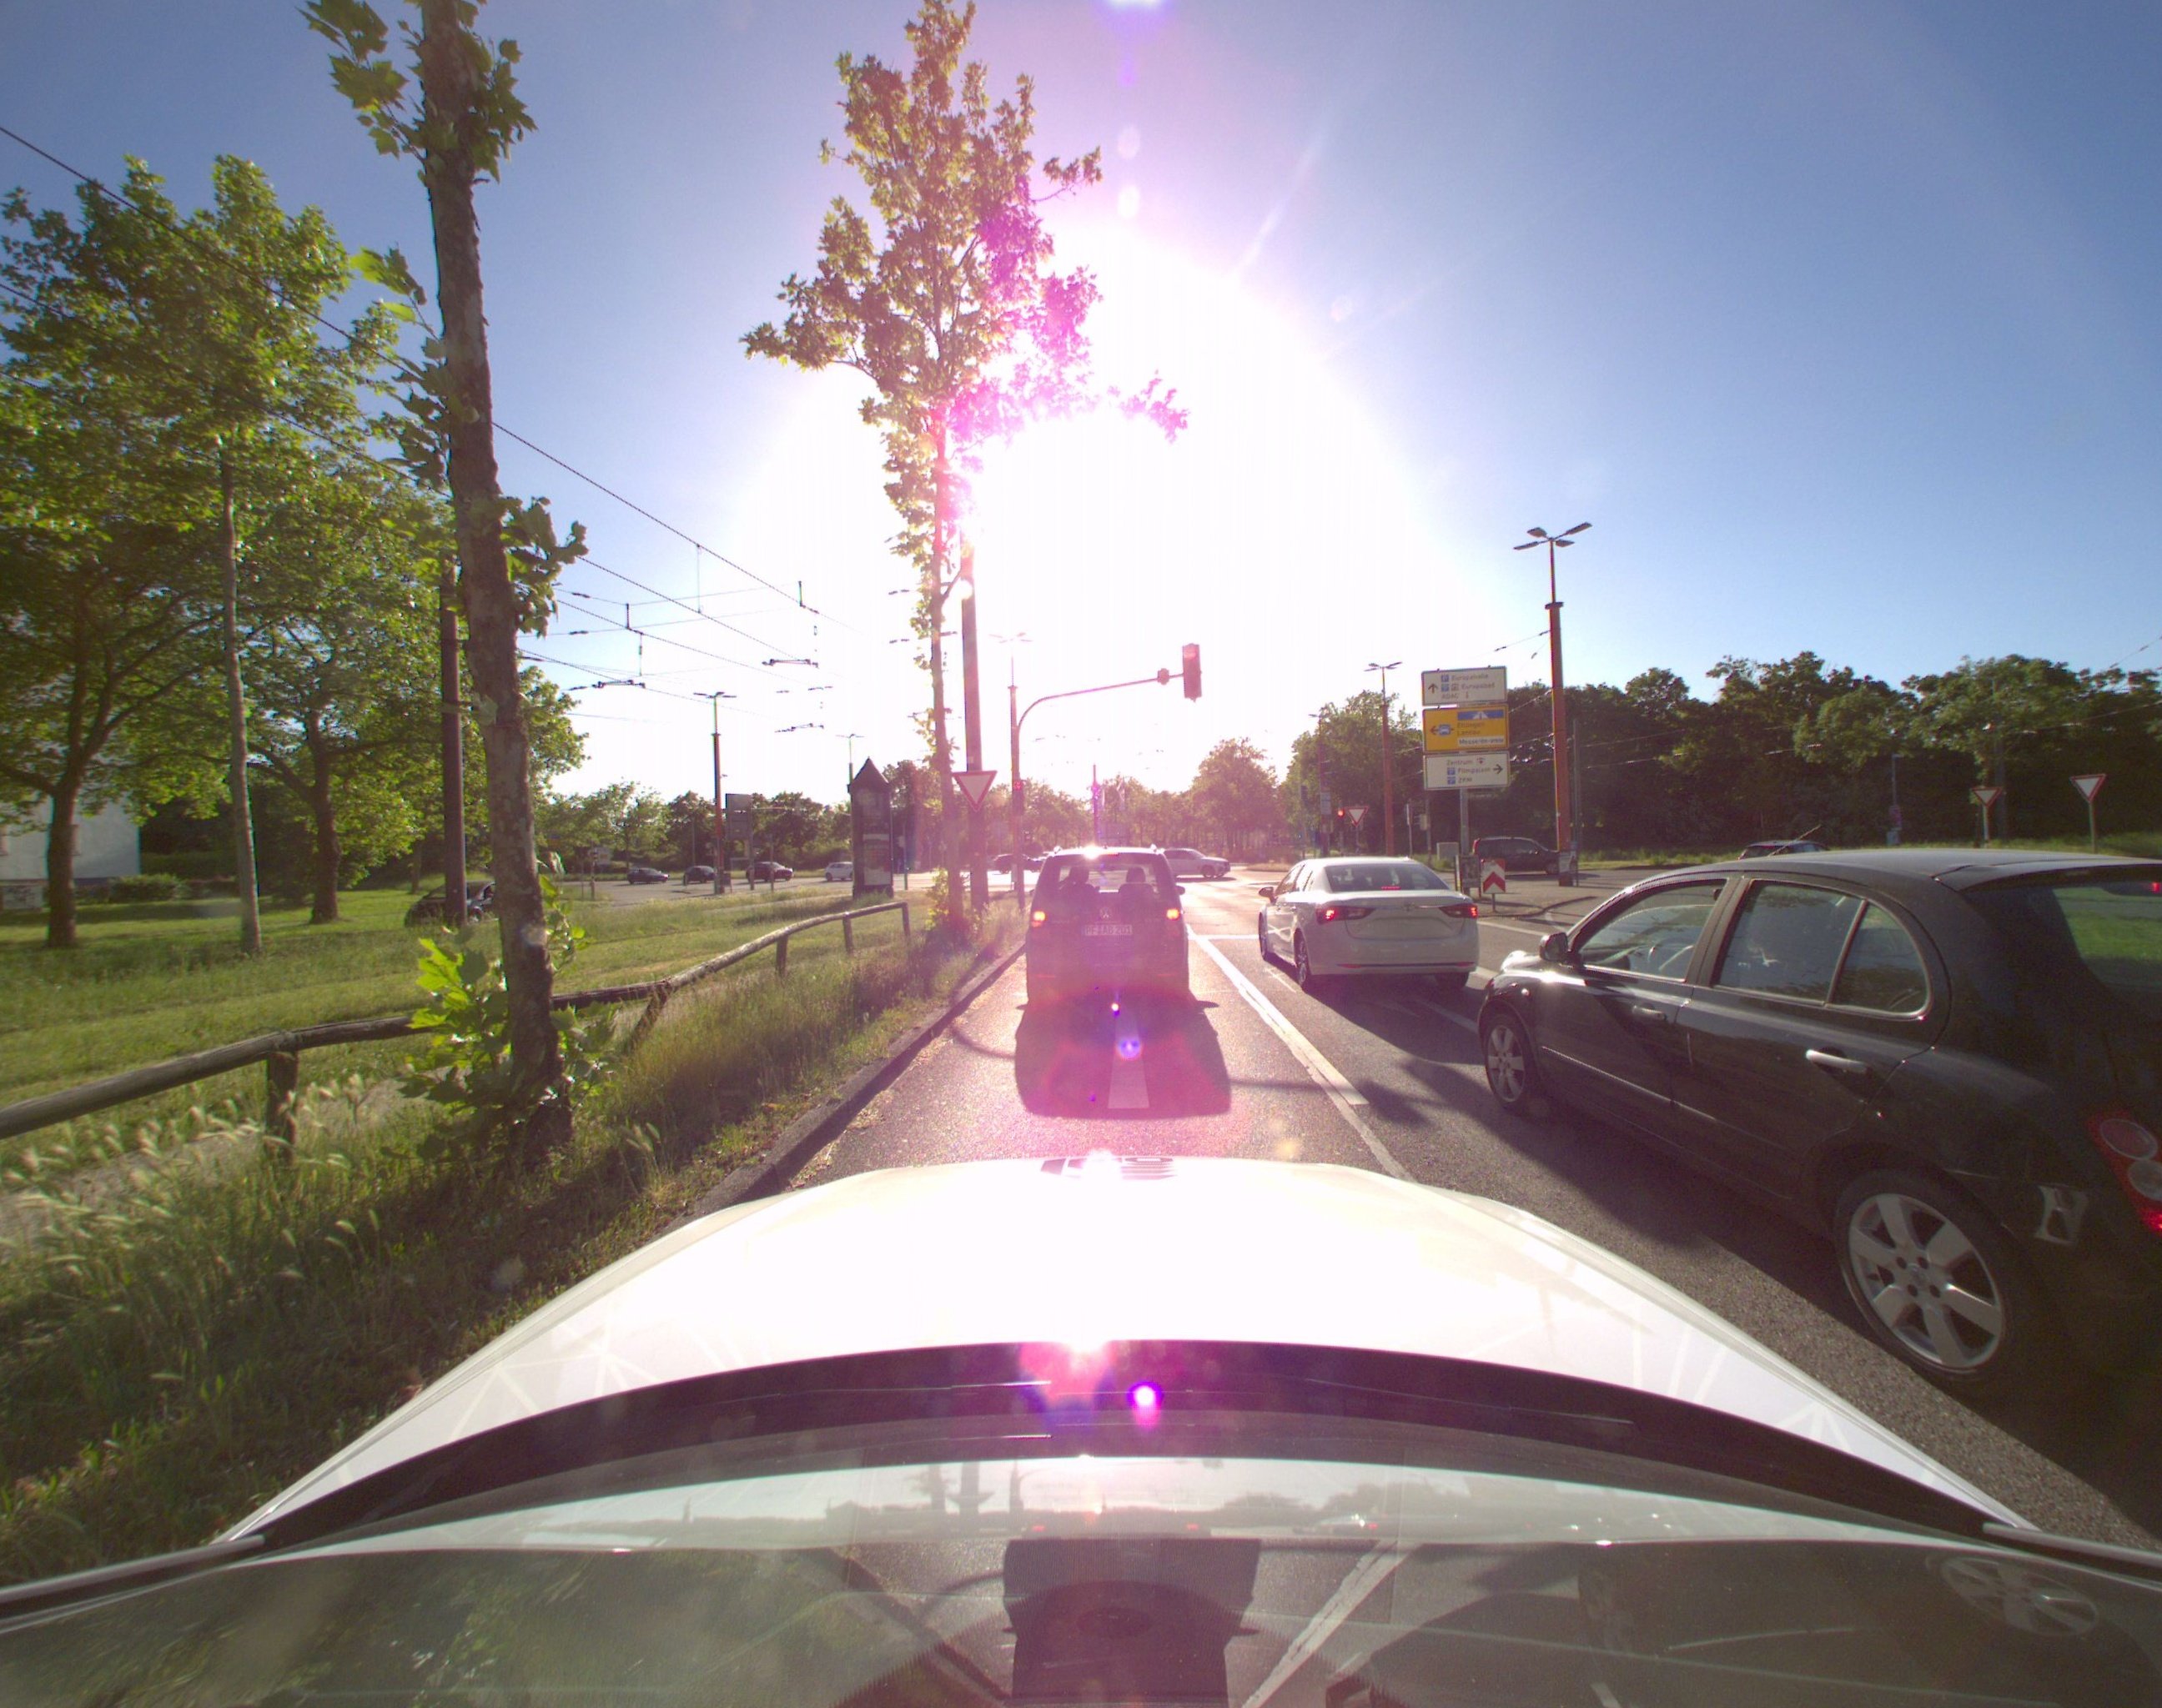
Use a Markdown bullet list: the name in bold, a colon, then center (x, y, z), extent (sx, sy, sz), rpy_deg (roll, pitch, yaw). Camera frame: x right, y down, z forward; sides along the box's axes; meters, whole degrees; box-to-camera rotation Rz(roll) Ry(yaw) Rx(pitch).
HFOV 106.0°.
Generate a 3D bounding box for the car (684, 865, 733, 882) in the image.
- **car**: center (-33.392, 1.762, 72.978), extent (4.004, 1.464, 1.926), rpy_deg (-2, 0, 29)

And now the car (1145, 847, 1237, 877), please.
- **car**: center (6.239, 0.461, 46.359), extent (4.735, 1.598, 1.926), rpy_deg (-2, 0, 29)

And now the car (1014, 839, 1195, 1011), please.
- **car**: center (0.298, 0.698, 9.993), extent (1.731, 1.641, 4.002), rpy_deg (-2, 0, 2)

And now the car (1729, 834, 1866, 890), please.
- **car**: center (20.739, 0.208, 23.565), extent (3.903, 1.469, 1.735), rpy_deg (-2, 0, -29)

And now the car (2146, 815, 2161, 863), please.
- **car**: center (36.857, -0.539, 24.851), extent (4.867, 1.575, 2.013), rpy_deg (-2, 0, 31)

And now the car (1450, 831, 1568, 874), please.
- **car**: center (20.040, -0.060, 38.197), extent (4.735, 1.836, 1.926), rpy_deg (-2, 0, 29)

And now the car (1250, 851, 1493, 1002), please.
- **car**: center (3.299, 0.721, 10.121), extent (1.708, 1.454, 4.147), rpy_deg (-2, 0, 3)

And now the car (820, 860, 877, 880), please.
- **car**: center (-18.486, 1.275, 64.763), extent (4.169, 1.464, 1.926), rpy_deg (-2, 0, 29)

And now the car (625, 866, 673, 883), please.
- **car**: center (-41.087, 1.954, 77.476), extent (4.187, 1.464, 1.926), rpy_deg (-2, 0, 28)

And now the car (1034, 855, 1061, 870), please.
- **car**: center (-3.944, 0.981, 97.403), extent (1.980, 1.684, 4.846), rpy_deg (-2, 0, 13)

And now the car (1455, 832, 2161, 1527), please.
- **car**: center (3.169, 0.696, 3.517), extent (1.550, 1.506, 3.517), rpy_deg (-2, 0, 2)

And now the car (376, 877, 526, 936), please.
- **car**: center (-18.100, 1.444, 23.634), extent (1.821, 1.420, 3.746), rpy_deg (-2, 0, -9)

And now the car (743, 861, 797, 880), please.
- **car**: center (-26.369, 1.424, 69.085), extent (4.318, 1.464, 1.926), rpy_deg (-2, 0, 29)

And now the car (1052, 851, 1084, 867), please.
- **car**: center (-1.388, 0.518, 91.963), extent (1.977, 1.684, 4.853), rpy_deg (-2, 0, 20)

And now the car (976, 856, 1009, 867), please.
- **car**: center (-11.243, 0.991, 103.881), extent (3.825, 1.310, 1.647), rpy_deg (-1, 0, -29)

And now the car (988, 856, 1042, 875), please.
- **car**: center (-5.505, 0.947, 67.804), extent (4.221, 1.464, 1.902), rpy_deg (-2, 0, -19)
